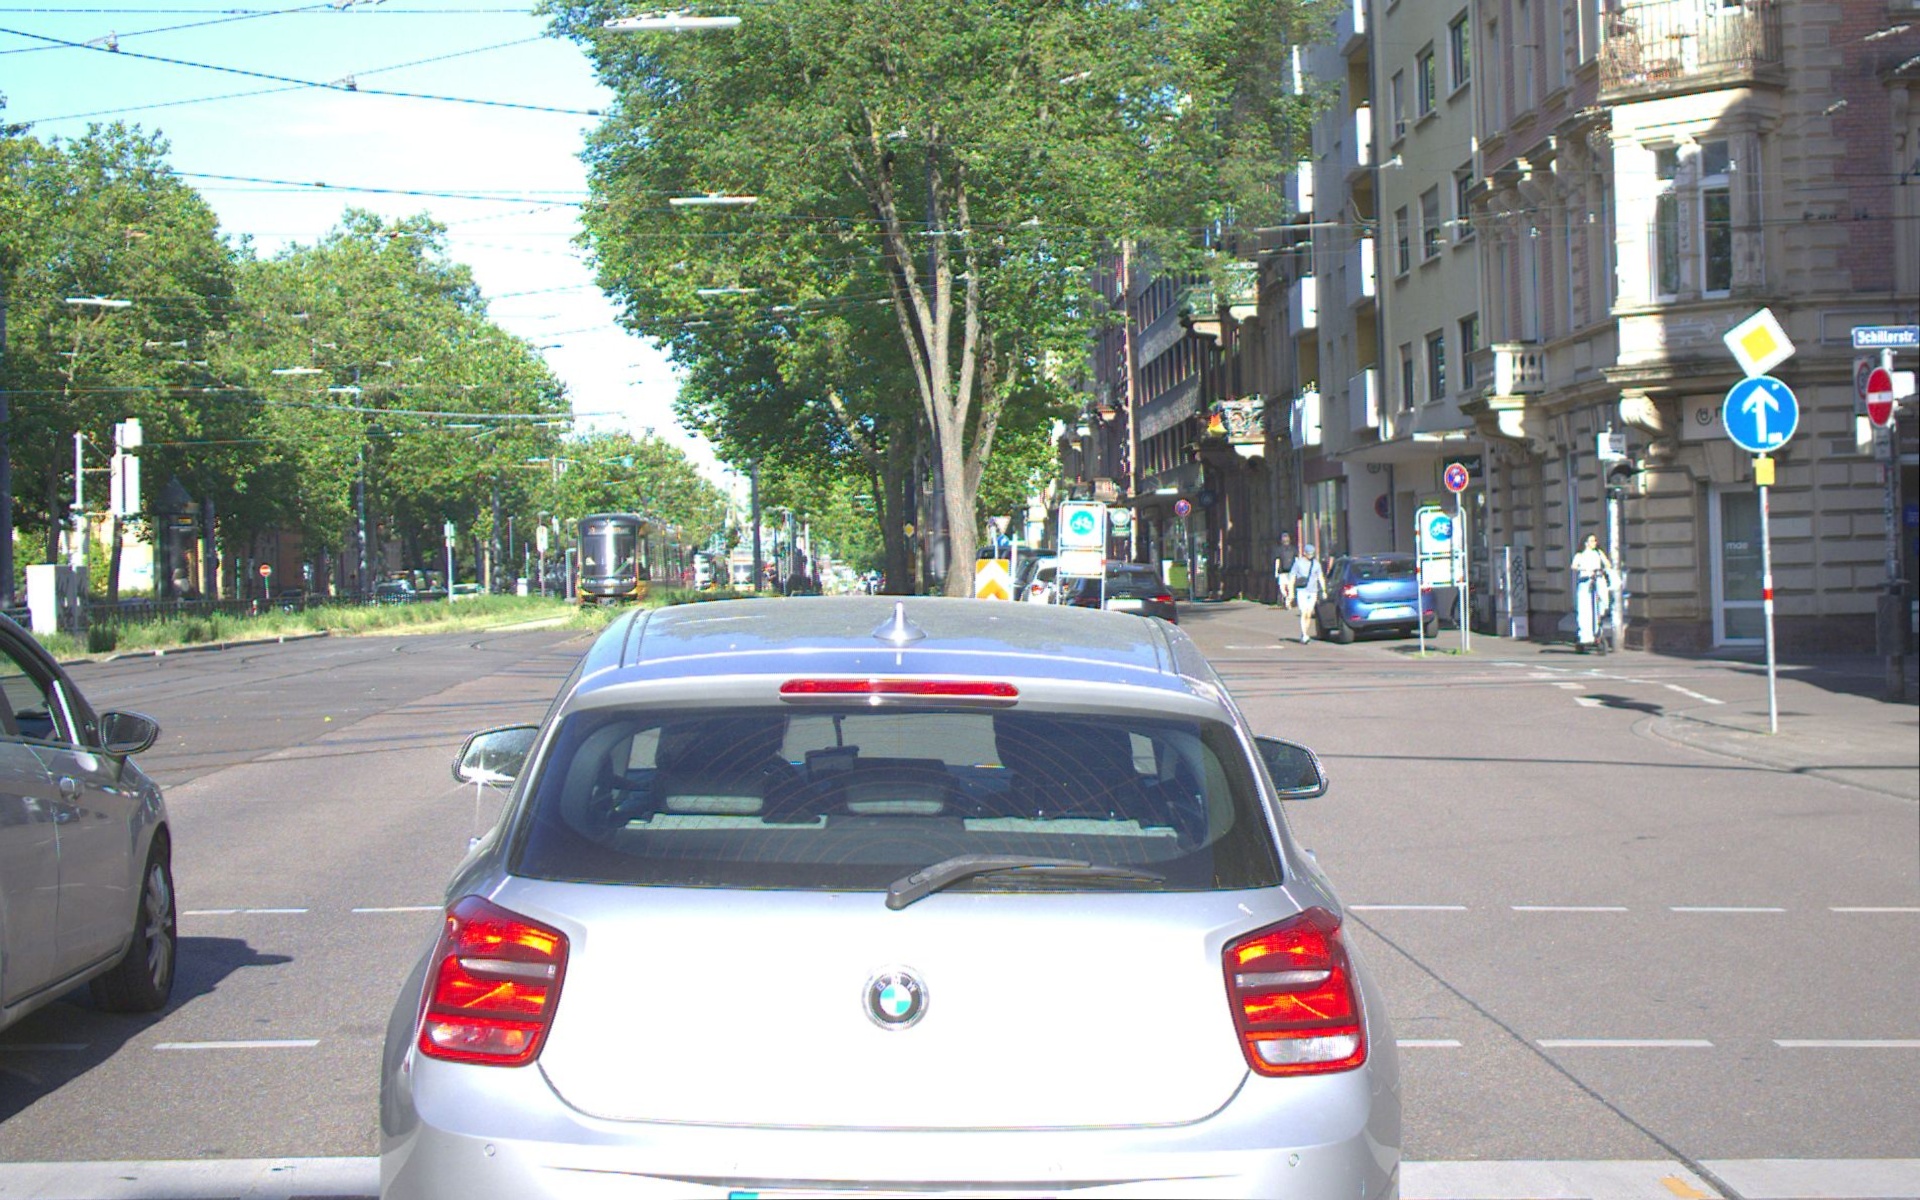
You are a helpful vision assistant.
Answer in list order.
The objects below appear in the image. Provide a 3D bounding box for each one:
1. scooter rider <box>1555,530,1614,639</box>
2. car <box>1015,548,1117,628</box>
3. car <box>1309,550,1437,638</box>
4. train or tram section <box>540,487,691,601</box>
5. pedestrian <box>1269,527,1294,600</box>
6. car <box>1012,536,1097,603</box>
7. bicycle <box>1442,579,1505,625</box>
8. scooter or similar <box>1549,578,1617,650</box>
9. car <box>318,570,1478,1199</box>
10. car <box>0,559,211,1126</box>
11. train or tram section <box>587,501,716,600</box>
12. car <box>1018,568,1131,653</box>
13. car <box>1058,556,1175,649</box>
[{"bbox_3d":[8.706,-0.218,47.939,0.465,1.500,0.811,-1,1,-17],"label":"scooter rider"},{"bbox_3d":[2.010,-0.247,66.205,1.724,1.502,3.555,0,1,-2],"label":"car"},{"bbox_3d":[7.284,-0.133,60.868,1.735,1.514,3.637,0,1,-1],"label":"car"},{"bbox_3d":[-12.569,-2.064,127.177,3.969,3.852,17.489,-1,1,-1],"label":"train or tram section"},{"bbox_3d":[7.971,-0.897,85.269,0.505,1.795,0.805,-1,1,-1],"label":"pedestrian"},{"bbox_3d":[2.142,-0.704,78.948,1.724,1.502,3.555,0,1,-2],"label":"car"},{"bbox_3d":[9.132,0.027,61.207,0.754,0.768,1.945,-1,1,-2],"label":"bicycle"},{"bbox_3d":[8.678,0.188,47.944,0.337,0.984,1.284,-1,1,-19],"label":"scooter or similar"},{"bbox_3d":[-0.125,0.690,7.181,1.740,1.462,4.000,1,1,-1],"label":"car"},{"bbox_3d":[-3.347,0.634,9.936,1.609,1.462,3.890,-1,1,-2],"label":"car"},{"bbox_3d":[-12.807,-2.091,144.680,4.005,3.852,17.489,-1,1,-1],"label":"train or tram section"},{"bbox_3d":[1.986,0.167,60.613,1.743,1.428,3.555,0,1,-2],"label":"car"},{"bbox_3d":[2.474,0.015,55.037,1.735,1.428,3.678,0,1,0],"label":"car"}]
